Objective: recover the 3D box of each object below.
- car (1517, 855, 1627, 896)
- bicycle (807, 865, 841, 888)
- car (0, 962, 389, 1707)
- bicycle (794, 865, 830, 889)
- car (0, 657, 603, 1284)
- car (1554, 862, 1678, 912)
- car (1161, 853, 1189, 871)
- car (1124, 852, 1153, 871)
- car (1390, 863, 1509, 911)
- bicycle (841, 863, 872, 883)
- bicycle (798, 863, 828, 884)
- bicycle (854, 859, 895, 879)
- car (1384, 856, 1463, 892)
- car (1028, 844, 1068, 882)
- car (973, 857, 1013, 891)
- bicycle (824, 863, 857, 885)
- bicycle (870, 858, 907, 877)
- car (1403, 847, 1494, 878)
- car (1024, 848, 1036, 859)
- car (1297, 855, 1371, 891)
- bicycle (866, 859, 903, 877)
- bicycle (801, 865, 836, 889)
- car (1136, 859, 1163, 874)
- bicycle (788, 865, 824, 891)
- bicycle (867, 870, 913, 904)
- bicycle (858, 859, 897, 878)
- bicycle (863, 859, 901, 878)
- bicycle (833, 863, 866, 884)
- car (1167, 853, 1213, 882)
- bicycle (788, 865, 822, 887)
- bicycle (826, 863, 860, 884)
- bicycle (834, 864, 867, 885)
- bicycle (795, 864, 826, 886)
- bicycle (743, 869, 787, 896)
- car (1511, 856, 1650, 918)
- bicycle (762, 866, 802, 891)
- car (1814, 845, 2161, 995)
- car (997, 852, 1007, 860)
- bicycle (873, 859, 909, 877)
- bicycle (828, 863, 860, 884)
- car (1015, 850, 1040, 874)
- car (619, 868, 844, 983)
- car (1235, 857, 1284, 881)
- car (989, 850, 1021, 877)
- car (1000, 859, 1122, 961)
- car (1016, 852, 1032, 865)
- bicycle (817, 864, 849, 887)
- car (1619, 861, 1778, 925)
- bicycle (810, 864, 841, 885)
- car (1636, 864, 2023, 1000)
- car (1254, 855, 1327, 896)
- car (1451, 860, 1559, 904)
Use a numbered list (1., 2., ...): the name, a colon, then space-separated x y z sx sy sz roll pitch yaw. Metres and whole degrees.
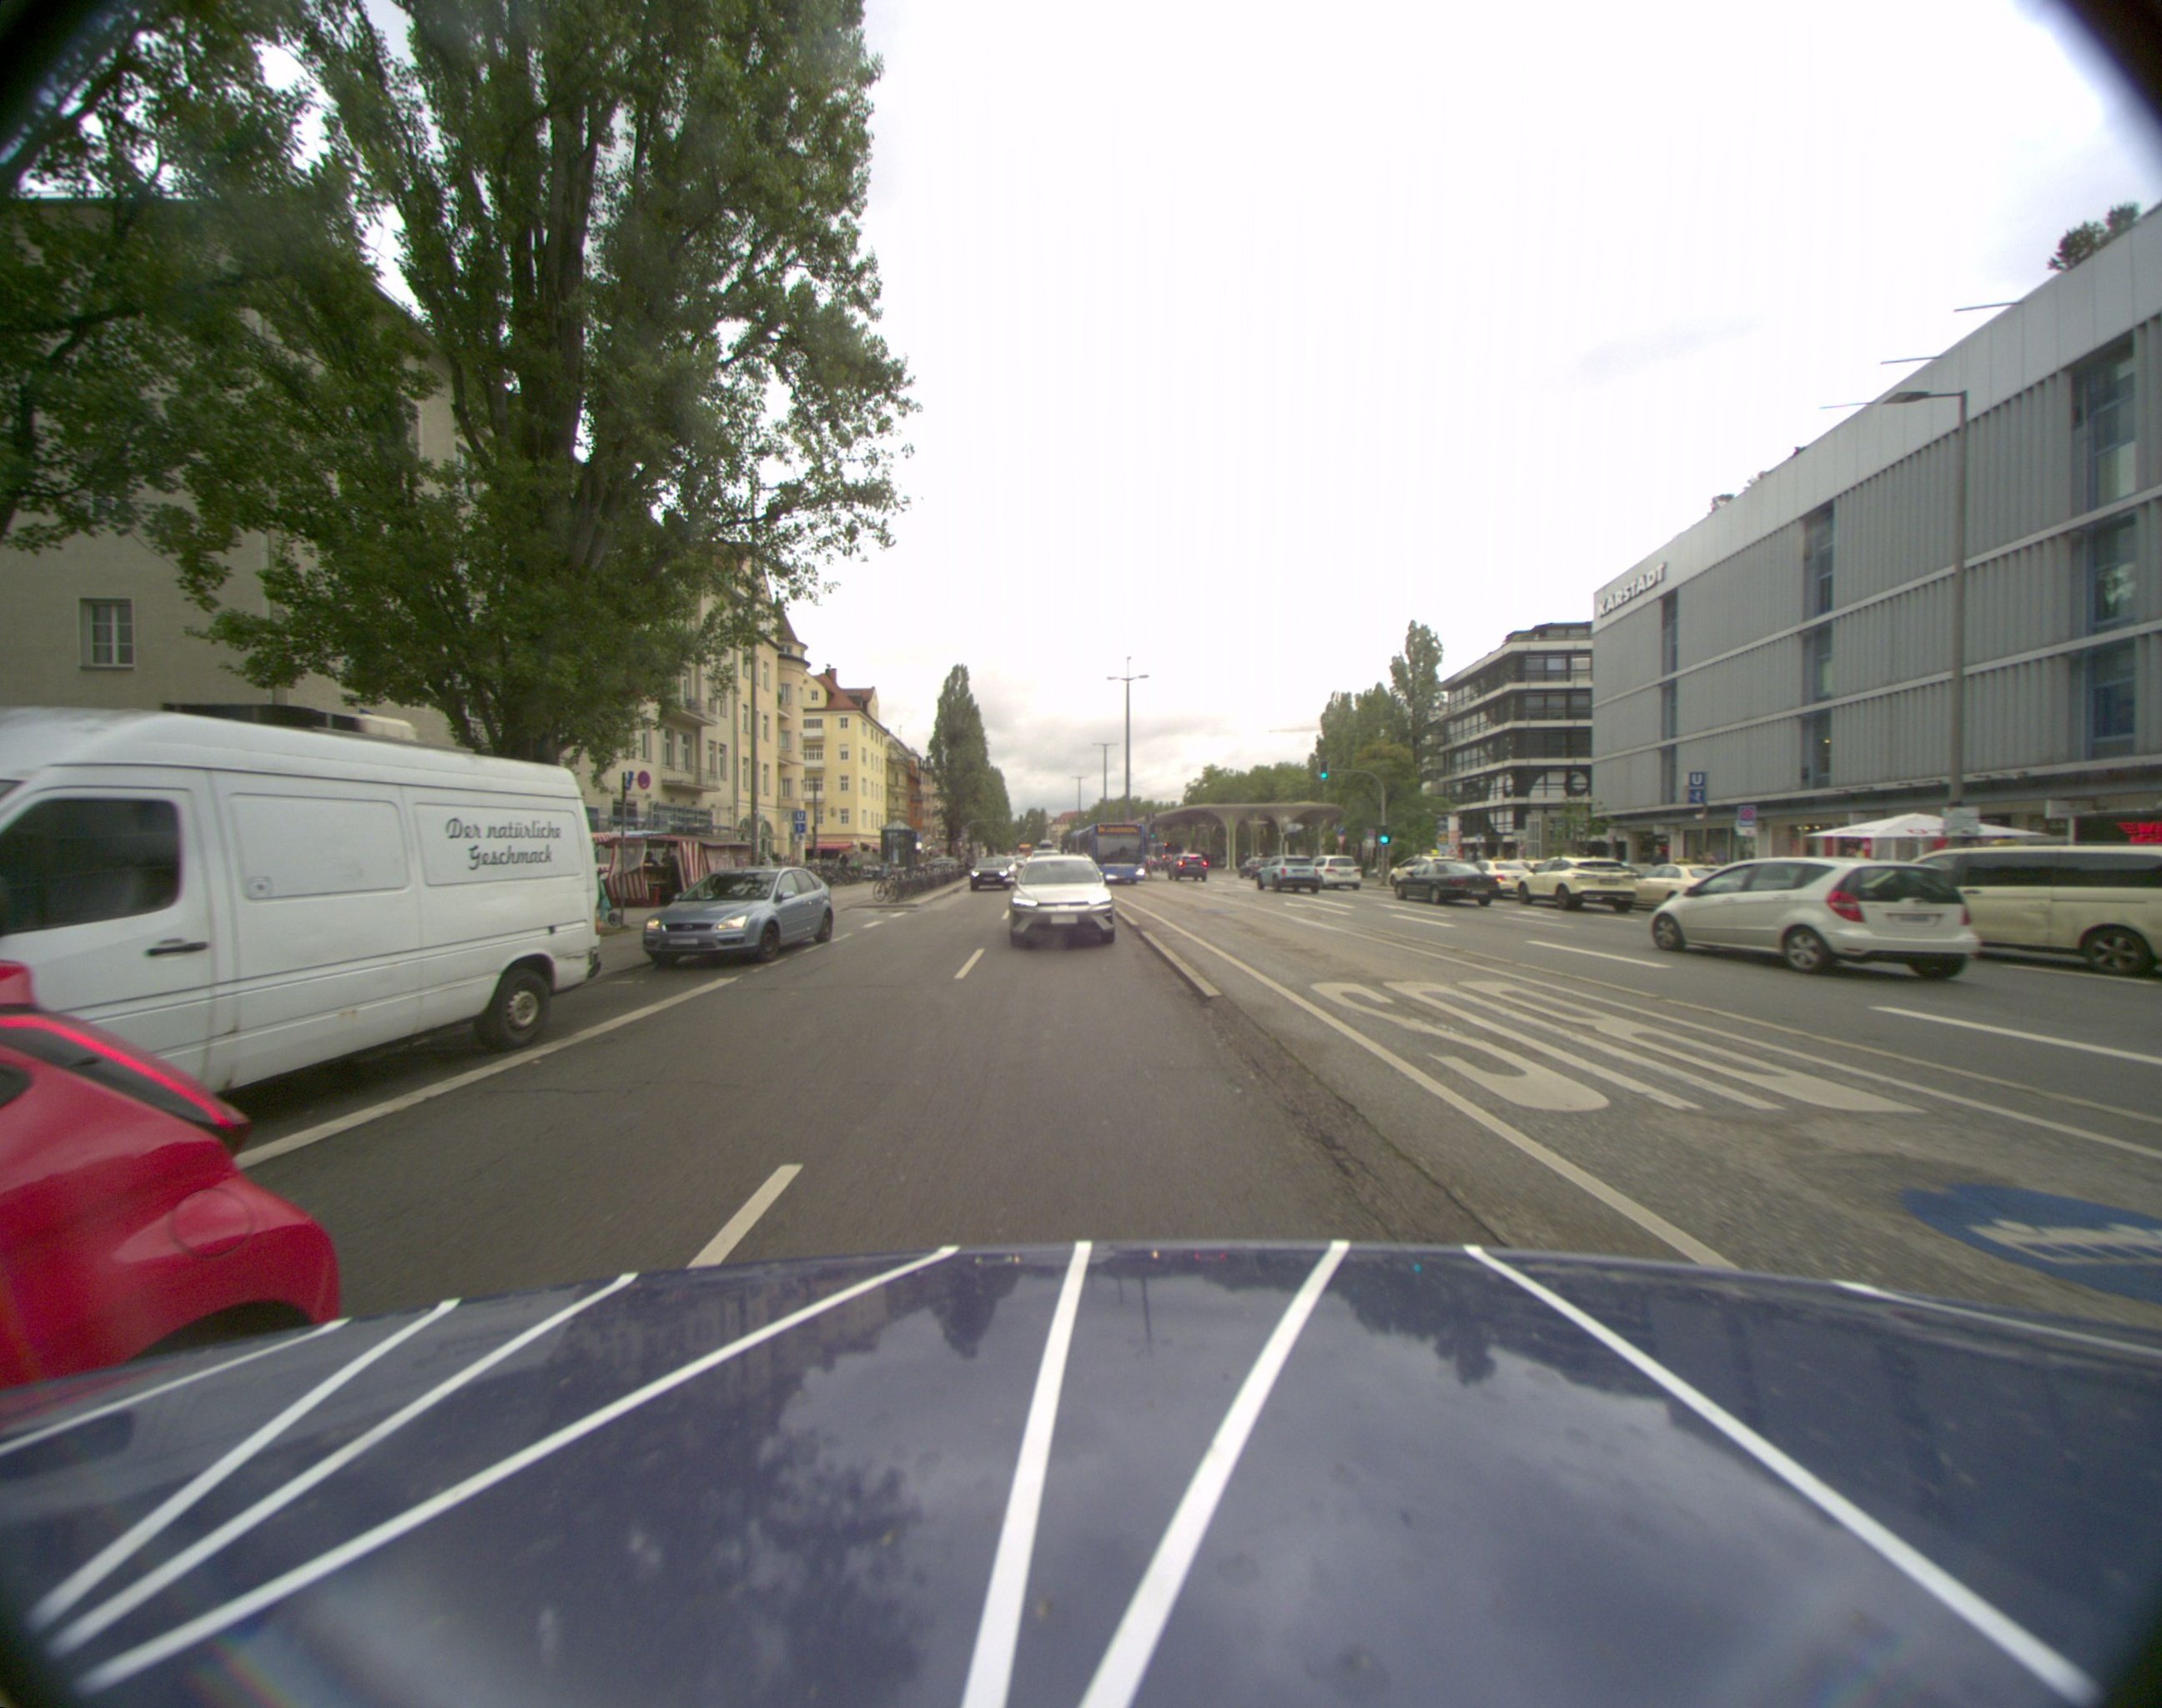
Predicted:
1. car: 20.199 0.848 31.505 1.911 1.558 3.999 0 0 -1
2. bicycle: -12.110 1.064 35.843 1.454 1.071 0.409 1 1 -16
3. car: -2.670 1.045 0.165 1.669 1.438 3.595 -1 1 0
4. bicycle: -12.238 1.052 34.588 1.482 1.071 0.410 1 1 2
5. car: -5.742 0.503 4.740 1.999 2.726 5.553 -2 1 -1
6. car: 18.536 1.081 26.560 1.756 1.527 4.001 0 0 5
7. car: 9.473 0.767 77.086 1.999 1.767 4.597 0 0 -3
8. car: 4.798 0.611 63.434 1.563 1.498 2.784 0 1 -16
9. car: 12.187 1.040 25.497 1.733 1.401 4.687 0 0 0
10. bicycle: -12.358 1.049 41.871 1.605 1.071 0.410 1 1 -5
11. bicycle: -14.028 1.042 39.754 1.453 1.071 0.410 1 1 -12
12. bicycle: -13.042 0.958 48.026 2.368 1.220 0.628 0 1 -1
13. car: 16.446 0.909 36.761 1.591 1.602 4.475 0 0 -3
14. car: -1.818 0.442 41.448 1.999 1.889 4.234 -2 1 -3
15. car: -4.092 0.904 35.919 1.741 1.461 4.048 -1 0 -5
16. bicycle: -12.258 1.032 38.803 1.540 1.071 0.410 1 1 -5
17. bicycle: -13.045 0.904 51.488 2.330 1.220 0.628 0 1 -1
18. car: 19.234 0.418 39.999 1.861 1.502 4.292 0 0 -17
19. car: -8.143 -0.119 120.320 1.859 1.696 3.998 1 0 -5
20. car: 11.845 0.849 35.889 1.999 1.591 4.289 0 0 -1
21. bicycle: -13.019 0.921 50.359 2.343 1.220 0.628 0 1 -1
22. bicycle: -12.111 1.041 35.071 1.451 1.071 0.410 1 1 5
23. car: 6.929 1.239 77.222 1.999 1.499 5.020 0 0 -3
24. bicycle: -11.921 1.027 32.982 1.471 1.071 0.410 1 1 12
25. bicycle: -6.482 1.129 25.736 1.572 1.048 0.548 -4 -1 35
26. bicycle: -13.030 0.947 48.706 2.343 1.220 0.628 0 1 -1
27. bicycle: -12.925 0.933 49.428 2.318 1.220 0.628 0 1 -1
28. bicycle: -12.545 1.064 41.227 1.626 1.071 0.410 1 1 -5
29. car: 6.477 0.755 45.718 1.999 1.611 4.412 1 0 -2
30. bicycle: -13.562 1.067 37.349 1.536 1.071 0.410 1 1 -11
31. bicycle: -12.526 1.017 39.984 1.662 1.071 0.410 1 1 -5
32. bicycle: -12.267 1.068 40.506 1.638 1.071 0.410 1 1 1
33. bicycle: -13.727 1.052 38.596 1.453 1.071 0.410 1 1 -12
34. bicycle: -13.065 1.168 31.439 1.632 1.097 0.410 1 1 2
35. car: 15.462 0.947 23.824 1.889 1.689 4.385 1 0 8
36. bicycle: -13.712 1.118 34.865 1.635 1.097 0.409 1 1 -13
37. car: 15.444 0.877 12.279 1.999 2.002 5.321 1 0 0
38. car: -16.393 0.385 157.752 1.999 1.630 3.999 0 0 -3
39. bicycle: -13.062 0.929 52.244 2.318 1.220 0.628 0 1 -1
40. bicycle: -12.273 1.024 39.392 1.529 1.071 0.410 1 1 -5
41. car: -4.342 0.608 62.150 1.873 1.760 4.234 -2 1 -3
42. car: -5.546 1.048 12.723 1.729 1.445 4.147 -2 0 1
43. car: 11.968 0.970 51.329 1.964 1.537 4.946 1 0 -2
44. car: -5.309 0.660 53.518 1.999 1.740 3.998 -2 1 -3
45. car: -0.396 0.906 14.059 1.896 1.483 3.998 -2 1 -2
46. car: -7.361 0.619 98.001 1.999 1.630 3.998 0 0 -5
47. bicycle: -12.080 1.045 37.043 1.453 1.071 0.410 1 1 -12
48. car: 17.698 1.039 22.056 1.775 1.607 4.002 0 0 8
49. bicycle: -13.725 1.102 40.813 1.530 1.071 0.410 1 1 -5
50. car: 10.643 0.981 11.339 1.957 1.580 4.001 0 0 3
51. car: 8.760 0.869 32.134 1.822 1.536 3.999 2 0 -1
52. car: 16.253 1.008 29.463 1.950 1.532 4.850 0 0 7
